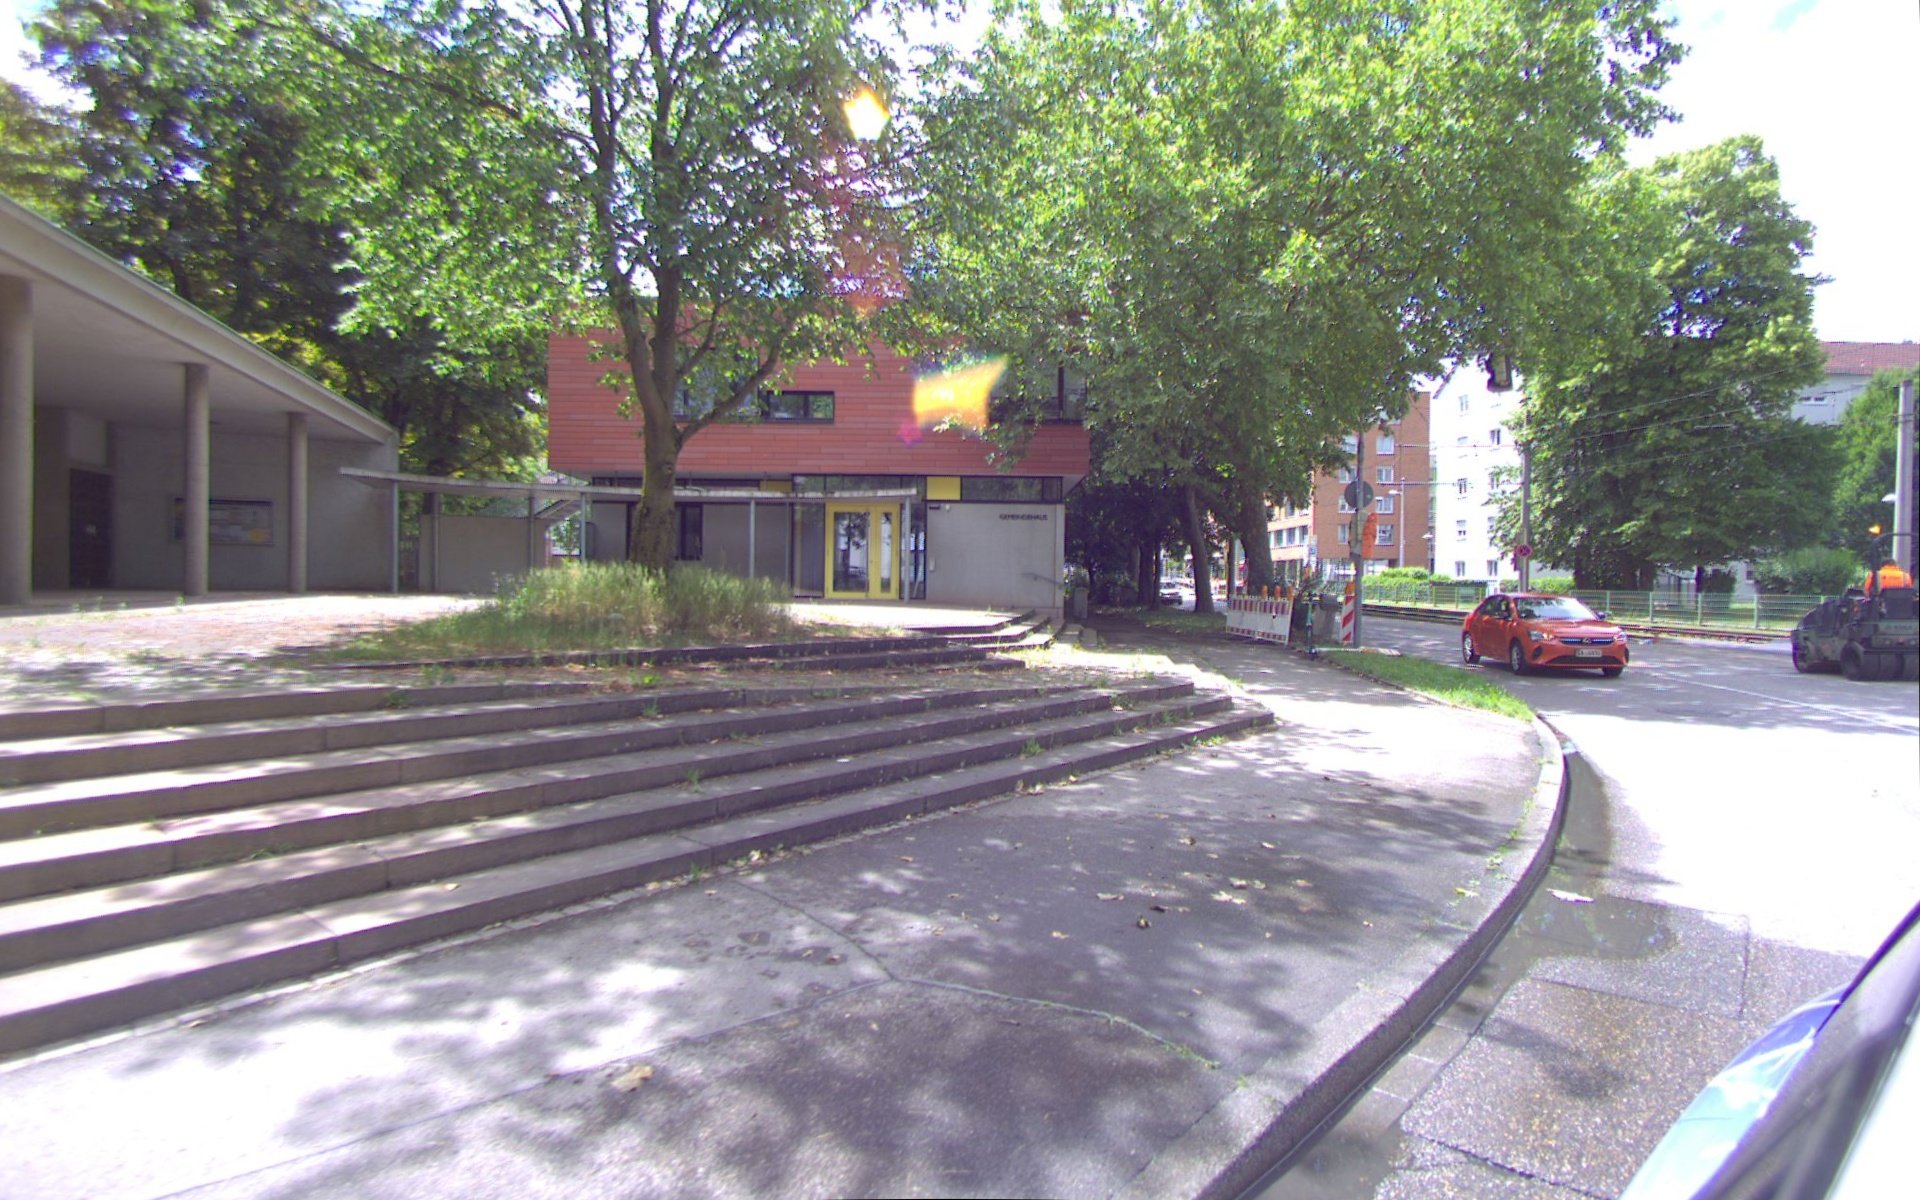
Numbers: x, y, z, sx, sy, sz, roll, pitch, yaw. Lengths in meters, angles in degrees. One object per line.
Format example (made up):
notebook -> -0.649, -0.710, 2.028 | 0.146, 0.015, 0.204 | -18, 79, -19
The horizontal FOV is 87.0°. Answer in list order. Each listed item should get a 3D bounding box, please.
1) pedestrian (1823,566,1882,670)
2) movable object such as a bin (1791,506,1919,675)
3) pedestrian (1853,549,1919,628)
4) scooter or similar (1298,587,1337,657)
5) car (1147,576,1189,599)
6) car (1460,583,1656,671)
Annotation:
pedestrian -> 14.981, 0.290, 17.002 | 0.462, 1.703, 0.558 | -1, 0, 4
movable object such as a bin -> 15.299, -0.164, 16.848 | 1.301, 2.626, 2.354 | 0, 0, 12
pedestrian -> 14.807, -0.194, 16.181 | 0.542, 1.232, 0.615 | 1, 0, 12
scooter or similar -> 6.595, 0.385, 18.709 | 0.558, 1.248, 1.189 | 1, 1, 15
car -> 12.369, -0.751, 60.320 | 1.504, 1.335, 3.385 | 1, 1, -6
car -> 10.917, 0.440, 18.809 | 1.740, 1.451, 3.830 | -1, 0, 7
